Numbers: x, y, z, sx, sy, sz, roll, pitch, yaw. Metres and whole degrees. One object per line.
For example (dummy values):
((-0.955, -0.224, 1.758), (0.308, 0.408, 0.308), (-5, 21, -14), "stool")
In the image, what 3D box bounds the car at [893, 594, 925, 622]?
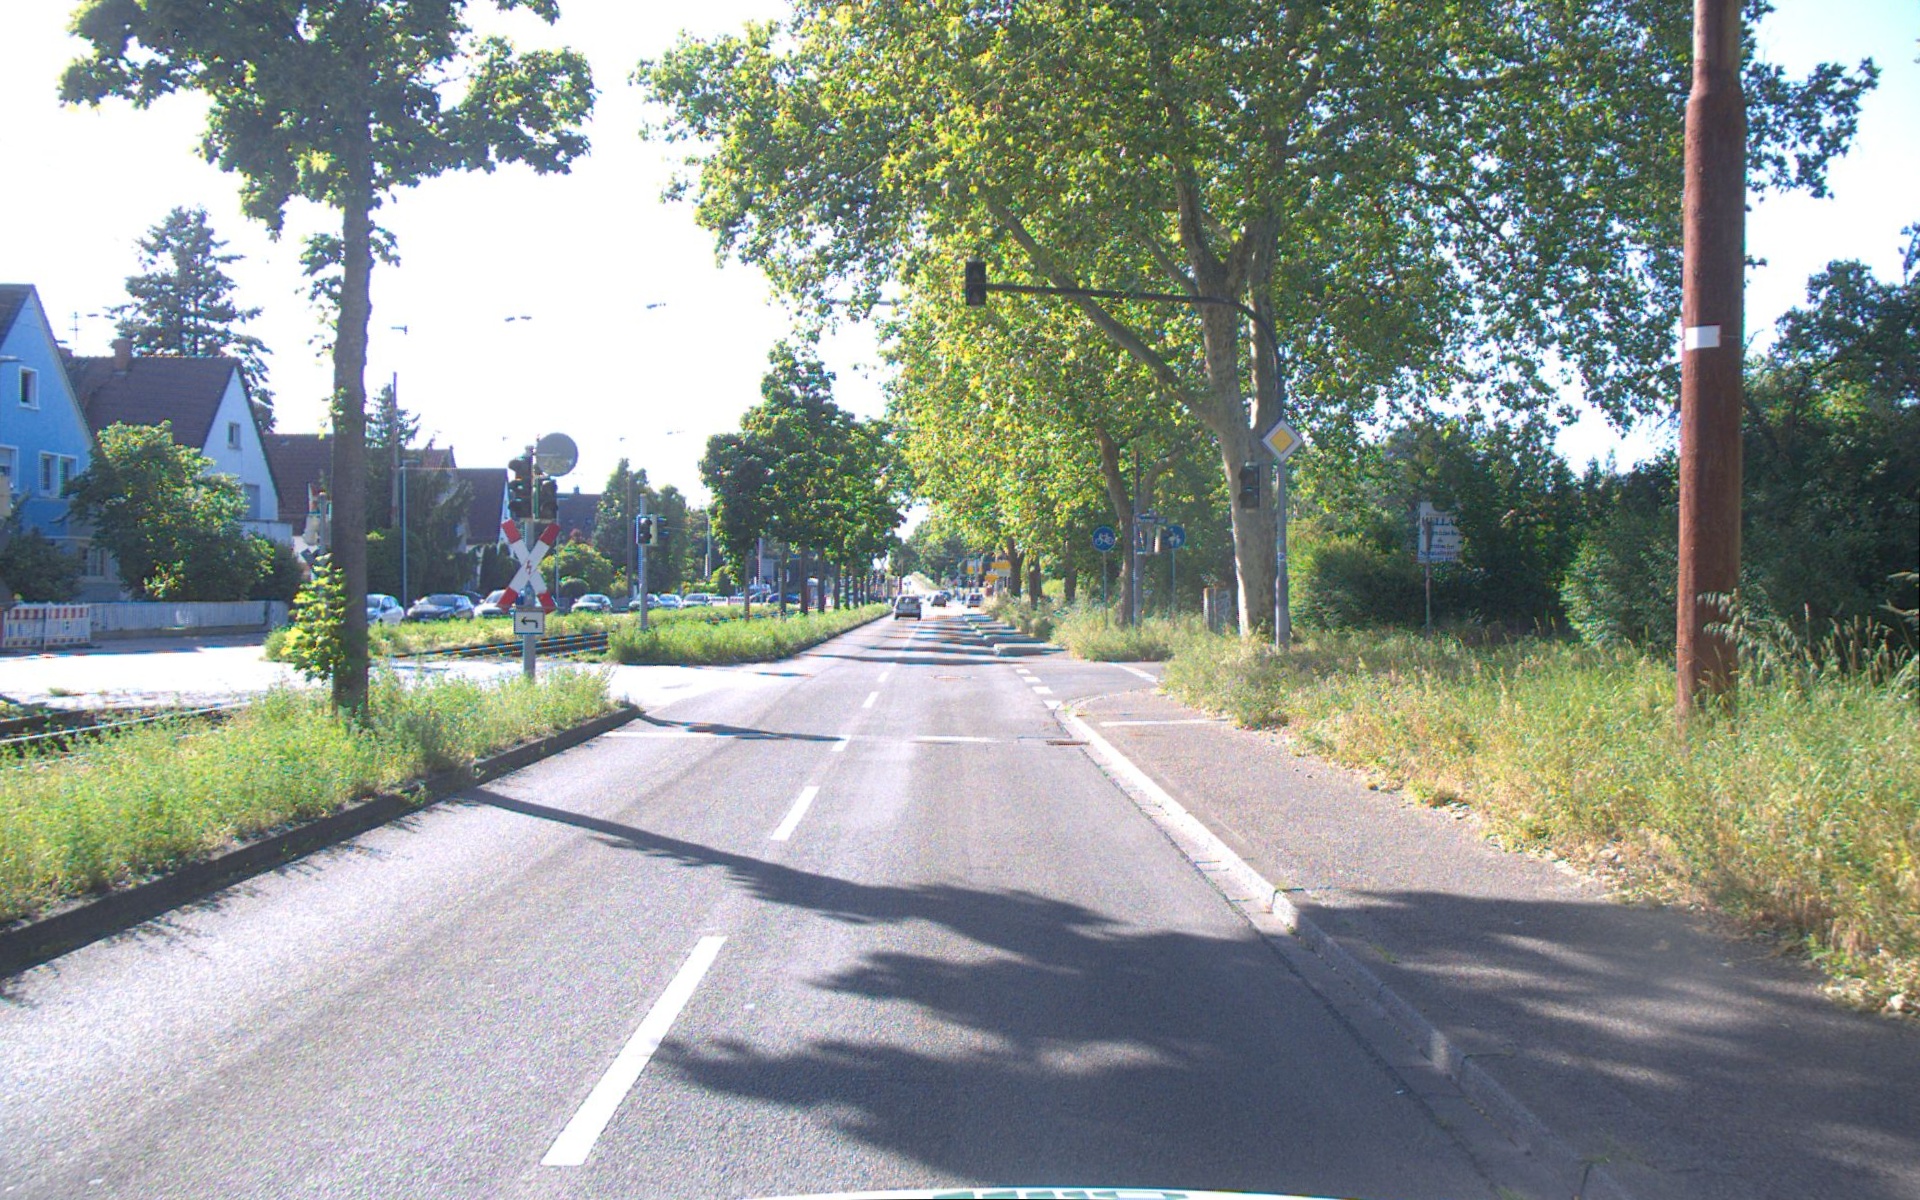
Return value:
((-3.030, 0.489, 99.583), (1.822, 1.629, 4.227), (2, 0, -1), "car")

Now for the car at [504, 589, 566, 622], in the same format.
((-21.914, 0.291, 85.436), (1.953, 1.572, 4.779), (2, 0, 0), "car")

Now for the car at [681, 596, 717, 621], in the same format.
((-17.328, 0.532, 110.026), (1.627, 1.579, 4.809), (2, 0, -1), "car")

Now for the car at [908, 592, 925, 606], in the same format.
((-5.307, -0.160, 202.547), (1.953, 1.631, 4.472), (2, 0, -1), "car")

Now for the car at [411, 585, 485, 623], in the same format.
((-21.270, 0.179, 68.921), (1.694, 1.491, 4.601), (2, 0, -1), "car")

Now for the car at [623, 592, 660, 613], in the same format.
((-22.683, 0.165, 117.859), (1.822, 1.438, 4.157), (2, 0, -1), "car")

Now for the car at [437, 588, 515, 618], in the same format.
((-27.520, 0.161, 94.090), (3.839, 1.478, 1.888), (2, 1, -1), "car")

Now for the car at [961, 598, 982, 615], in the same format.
((1.198, 0.696, 172.092), (1.953, 1.631, 4.472), (2, 0, -1), "car")

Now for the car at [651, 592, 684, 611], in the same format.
((-22.570, 0.120, 127.732), (1.822, 1.456, 4.461), (2, 0, -1), "car")

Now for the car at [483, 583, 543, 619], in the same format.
((-21.662, 0.061, 80.348), (1.712, 1.679, 4.554), (2, 0, -1), "car")

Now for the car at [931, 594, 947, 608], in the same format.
((-2.534, 0.135, 198.288), (1.755, 1.586, 4.227), (2, 0, -1), "car")

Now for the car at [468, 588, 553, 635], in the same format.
((-16.626, 0.413, 61.356), (1.953, 1.631, 4.472), (2, 0, -1), "car")

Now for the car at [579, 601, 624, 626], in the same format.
((-21.567, 0.803, 99.535), (1.822, 1.393, 4.227), (2, 0, -1), "car")

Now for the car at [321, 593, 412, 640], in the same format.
((-21.445, 0.580, 59.929), (1.822, 1.569, 4.227), (2, 0, -1), "car")
